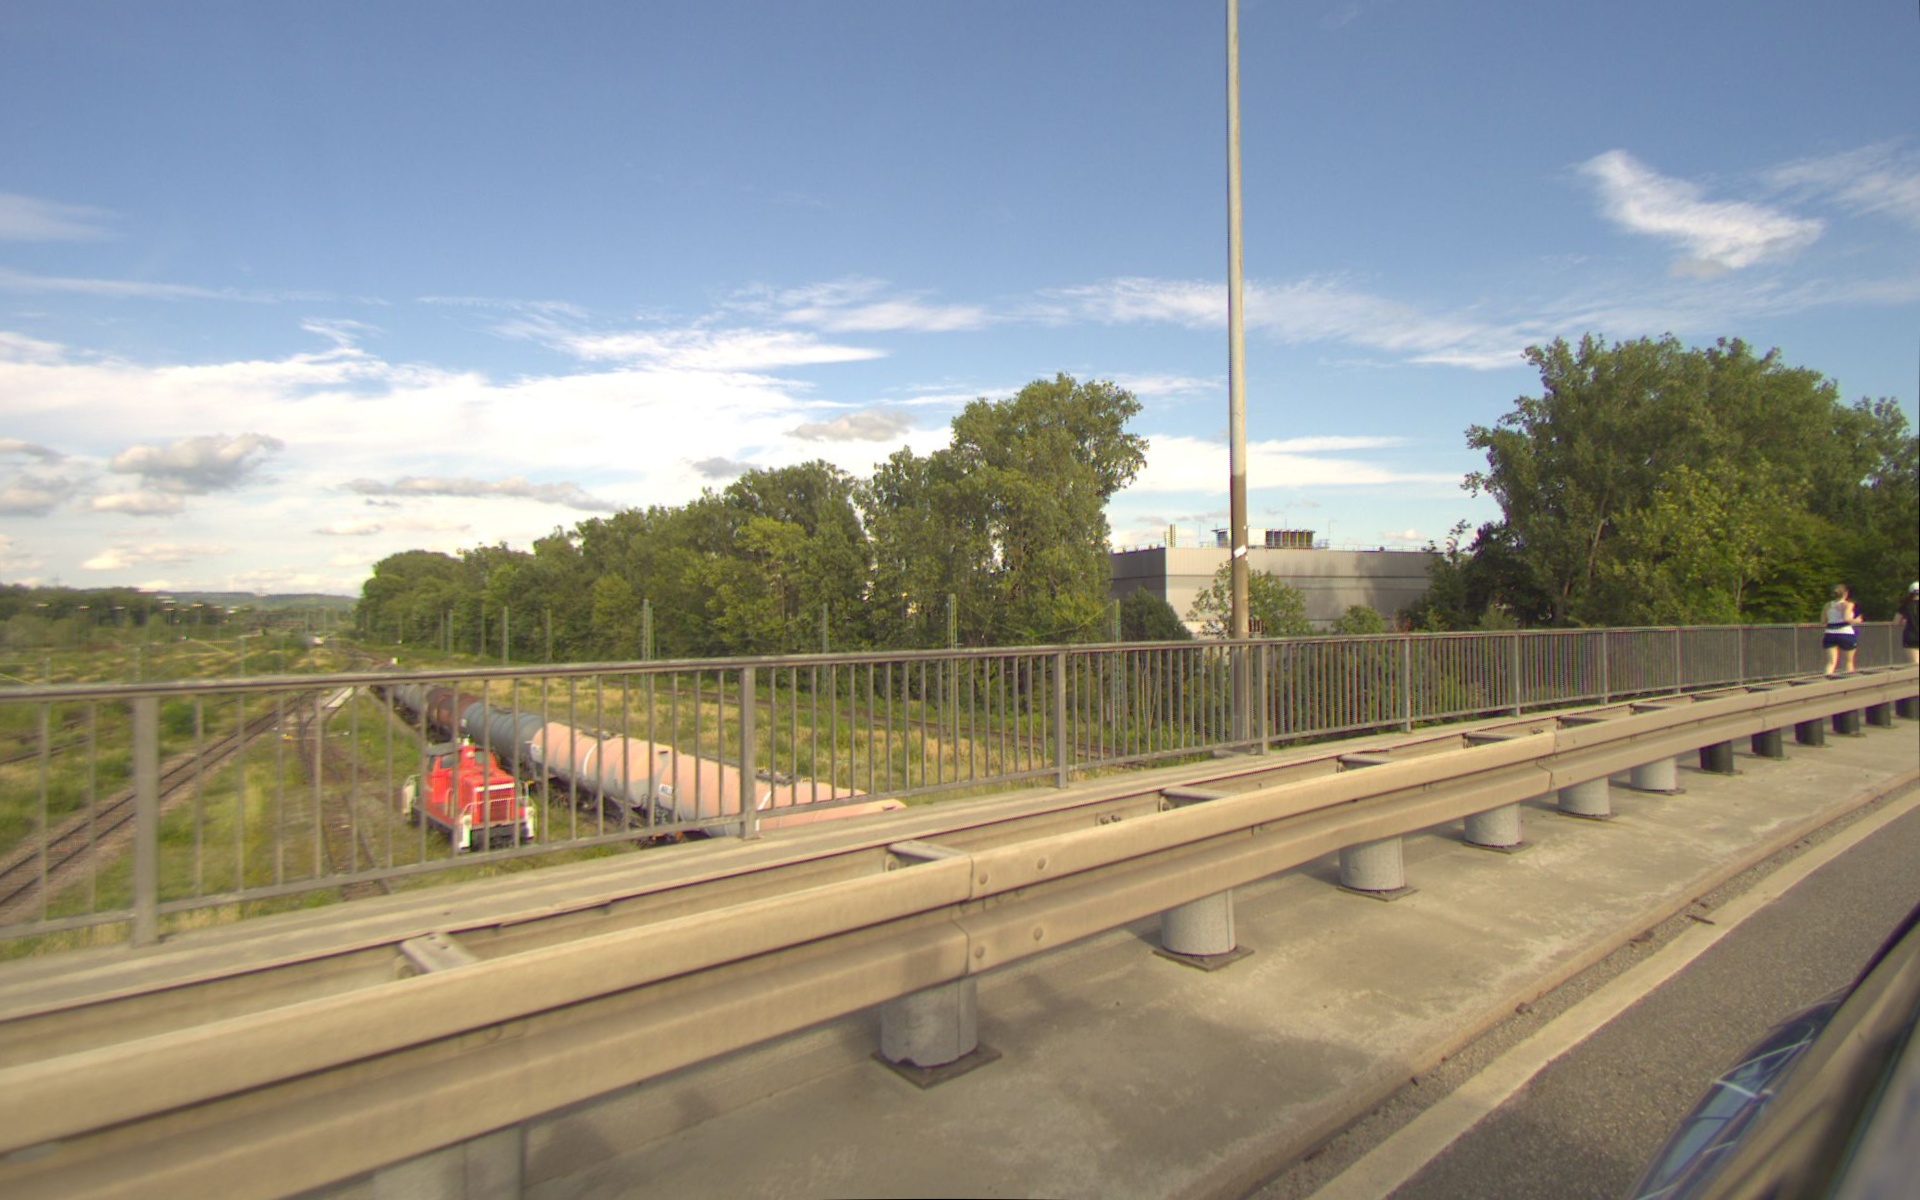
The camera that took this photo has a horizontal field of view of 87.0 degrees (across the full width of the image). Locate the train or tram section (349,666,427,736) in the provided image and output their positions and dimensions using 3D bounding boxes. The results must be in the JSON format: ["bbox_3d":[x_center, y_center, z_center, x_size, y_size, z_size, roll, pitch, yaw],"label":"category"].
[{"bbox_3d":[-50.254,8.600,88.546,3.042,4.772,16.726,0,-1,-39],"label":"train or tram section"}]

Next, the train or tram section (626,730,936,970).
[{"bbox_3d":[-7.408,8.325,37.225,3.043,4.771,16.723,0,2,-41],"label":"train or tram section"}]

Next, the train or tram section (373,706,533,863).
[{"bbox_3d":[-24.426,8.135,47.850,3.041,4.196,17.285,0,2,-39],"label":"train or tram section"}]

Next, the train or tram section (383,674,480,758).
[{"bbox_3d":[-39.770,8.349,75.611,3.042,4.772,16.726,0,-1,-39],"label":"train or tram section"}]

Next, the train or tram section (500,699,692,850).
[{"bbox_3d":[-18.416,8.049,49.832,3.043,4.772,16.720,0,1,-41],"label":"train or tram section"}]

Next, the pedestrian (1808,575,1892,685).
[{"bbox_3d":[13.108,0.412,14.905,0.942,1.563,0.679,0,1,-33],"label":"pedestrian"}]

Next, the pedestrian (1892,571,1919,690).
[{"bbox_3d":[13.970,0.429,14.521,0.848,1.682,0.679,0,1,-33],"label":"pedestrian"}]

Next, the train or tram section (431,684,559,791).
[{"bbox_3d":[-29.152,8.098,62.654,3.042,4.772,16.726,0,-1,-39],"label":"train or tram section"}]
